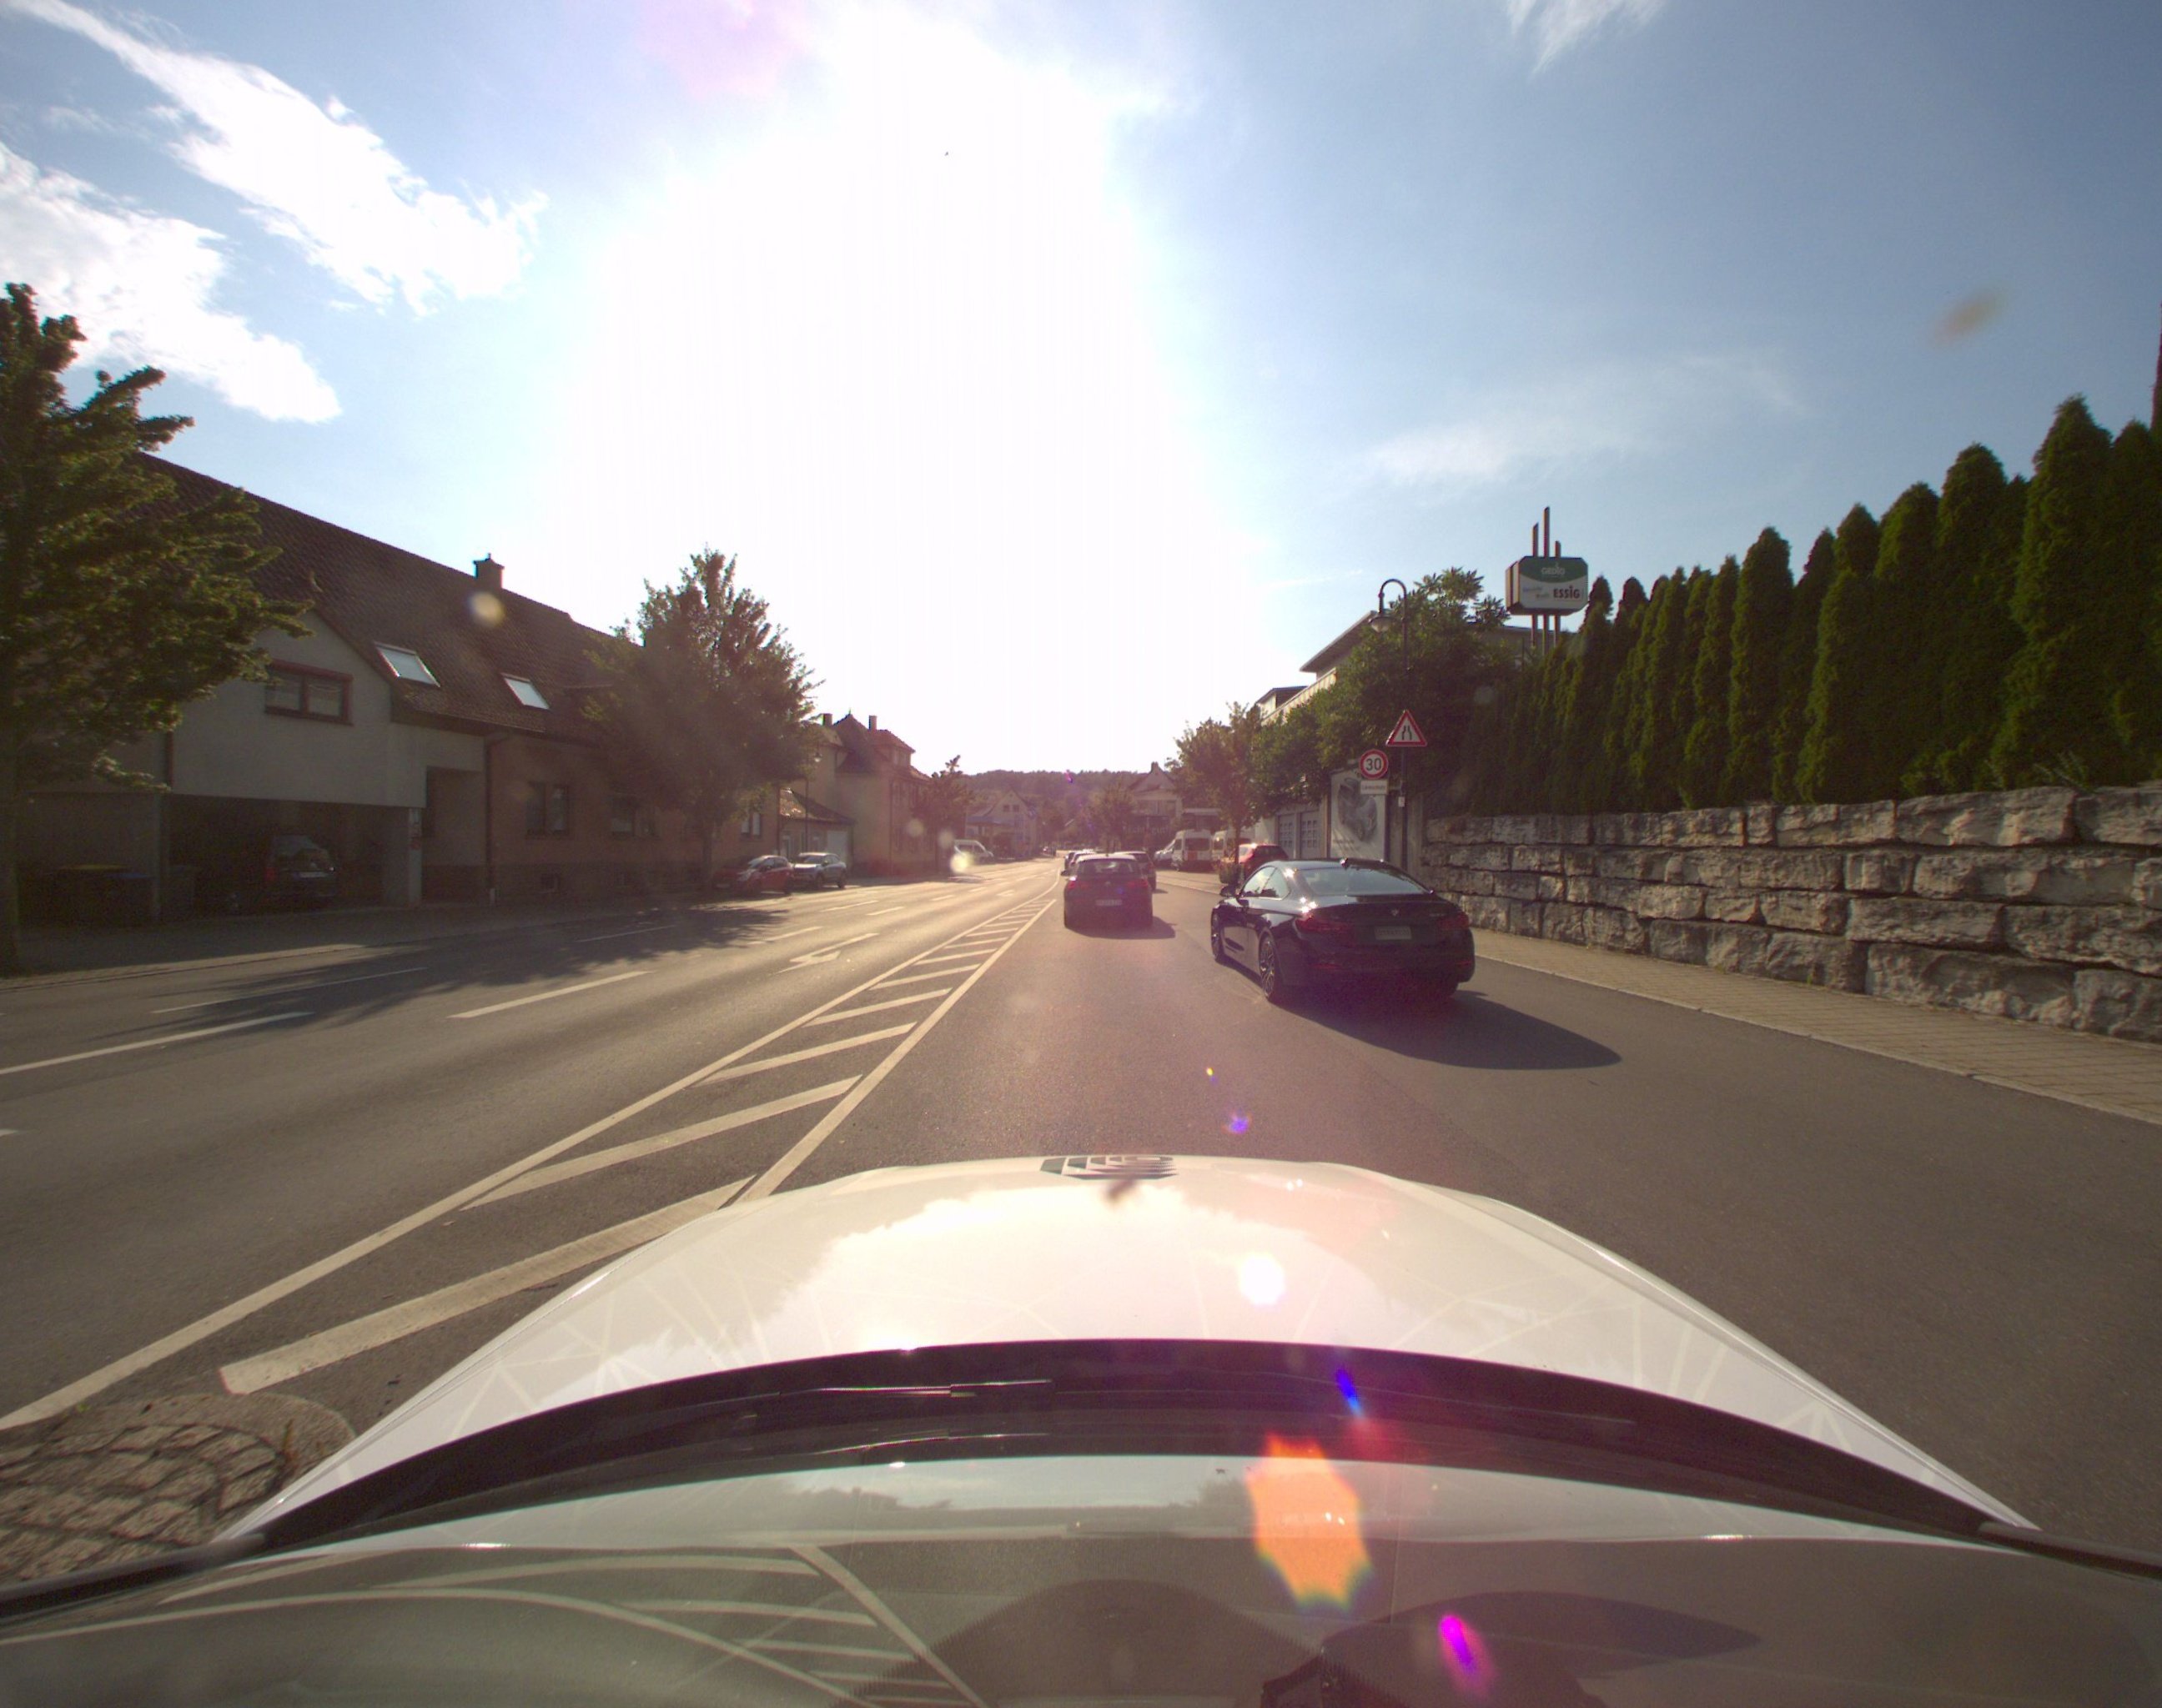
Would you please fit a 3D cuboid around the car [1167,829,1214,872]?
[{"bbox_3d":[7.354,-0.286,55.208,2.143,2.680,6.600,-1,1,-1],"label":"car"}]

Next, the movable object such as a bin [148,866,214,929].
[{"bbox_3d":[-17.025,0.812,15.414,0.564,1.142,0.575,-1,1,-3],"label":"movable object such as a bin"}]

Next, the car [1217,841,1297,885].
[{"bbox_3d":[7.103,0.323,33.340,1.833,1.649,4.527,-1,0,-7],"label":"car"}]

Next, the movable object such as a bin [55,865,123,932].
[{"bbox_3d":[-17.475,0.769,14.356,0.508,1.137,0.541,-1,1,2],"label":"movable object such as a bin"}]

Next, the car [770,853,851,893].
[{"bbox_3d":[-11.588,0.779,35.144,1.747,1.479,4.007,2,1,6],"label":"car"}]

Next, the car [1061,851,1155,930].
[{"bbox_3d":[0.560,0.678,17.190,1.765,1.456,3.517,-1,0,1],"label":"car"}]

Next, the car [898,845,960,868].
[{"bbox_3d":[-13.148,0.220,70.718,4.956,1.999,1.937,0,0,2],"label":"car"}]

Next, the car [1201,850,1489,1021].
[{"bbox_3d":[2.595,0.686,9.134,1.695,1.369,4.259,-2,1,-2],"label":"car"}]

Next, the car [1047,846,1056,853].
[{"bbox_3d":[-5.956,-0.921,164.760,1.592,1.485,3.473,0,1,-1],"label":"car"}]

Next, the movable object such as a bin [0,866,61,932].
[{"bbox_3d":[-18.698,0.787,14.439,0.508,1.137,0.541,-1,1,2],"label":"movable object such as a bin"}]

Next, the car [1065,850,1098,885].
[{"bbox_3d":[0.059,0.649,41.570,1.586,1.600,3.895,-1,1,1],"label":"car"}]

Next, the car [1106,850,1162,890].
[{"bbox_3d":[2.007,0.584,31.539,1.750,1.414,3.417,-1,1,-4],"label":"car"}]

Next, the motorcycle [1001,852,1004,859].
[{"bbox_3d":[-11.300,0.165,117.024,0.362,0.943,1.695,-1,1,-1],"label":"motorcycle"}]

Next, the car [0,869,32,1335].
[{"bbox_3d":[-4.257,0.817,0.900,1.526,1.462,3.509,-1,1,3],"label":"car"}]

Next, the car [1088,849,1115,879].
[{"bbox_3d":[1.307,0.586,50.859,1.596,1.767,3.413,-1,1,2],"label":"car"}]

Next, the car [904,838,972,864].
[{"bbox_3d":[-13.425,-0.314,76.753,5.893,2.480,2.196,0,1,4],"label":"car"}]

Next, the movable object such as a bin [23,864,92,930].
[{"bbox_3d":[-18.094,0.752,14.402,0.508,1.137,0.541,-1,1,2],"label":"movable object such as a bin"}]

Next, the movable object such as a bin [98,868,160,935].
[{"bbox_3d":[-16.898,0.834,14.461,0.473,1.137,0.501,-1,1,2],"label":"movable object such as a bin"}]

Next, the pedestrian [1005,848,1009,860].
[{"bbox_3d":[-10.660,-0.051,117.371,0.609,1.670,0.442,-1,1,-3],"label":"pedestrian"}]

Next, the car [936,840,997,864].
[{"bbox_3d":[-12.147,-0.239,86.420,6.138,2.444,2.249,0,1,0],"label":"car"}]

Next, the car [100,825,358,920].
[{"bbox_3d":[-18.357,0.369,17.668,3.804,1.881,1.781,1,0,3],"label":"car"}]

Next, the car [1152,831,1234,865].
[{"bbox_3d":[8.639,-0.450,63.127,6.028,2.516,2.042,-1,1,-3],"label":"car"}]

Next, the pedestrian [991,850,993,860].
[{"bbox_3d":[-12.736,0.178,116.249,0.263,1.383,0.286,-1,1,-18],"label":"pedestrian"}]

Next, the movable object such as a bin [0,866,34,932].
[{"bbox_3d":[-19.216,0.794,14.459,0.508,1.137,0.541,-1,1,2],"label":"movable object such as a bin"}]

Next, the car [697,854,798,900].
[{"bbox_3d":[-12.181,0.790,30.049,1.657,1.487,4.008,2,1,7],"label":"car"}]

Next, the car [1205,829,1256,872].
[{"bbox_3d":[10.074,-0.280,55.489,2.105,2.721,6.440,-1,1,-1],"label":"car"}]

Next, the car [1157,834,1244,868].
[{"bbox_3d":[8.767,-0.221,60.061,6.028,2.363,2.042,-1,1,-3],"label":"car"}]

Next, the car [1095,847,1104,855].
[{"bbox_3d":[3.495,-0.541,152.224,1.592,1.485,3.473,0,1,-1],"label":"car"}]
